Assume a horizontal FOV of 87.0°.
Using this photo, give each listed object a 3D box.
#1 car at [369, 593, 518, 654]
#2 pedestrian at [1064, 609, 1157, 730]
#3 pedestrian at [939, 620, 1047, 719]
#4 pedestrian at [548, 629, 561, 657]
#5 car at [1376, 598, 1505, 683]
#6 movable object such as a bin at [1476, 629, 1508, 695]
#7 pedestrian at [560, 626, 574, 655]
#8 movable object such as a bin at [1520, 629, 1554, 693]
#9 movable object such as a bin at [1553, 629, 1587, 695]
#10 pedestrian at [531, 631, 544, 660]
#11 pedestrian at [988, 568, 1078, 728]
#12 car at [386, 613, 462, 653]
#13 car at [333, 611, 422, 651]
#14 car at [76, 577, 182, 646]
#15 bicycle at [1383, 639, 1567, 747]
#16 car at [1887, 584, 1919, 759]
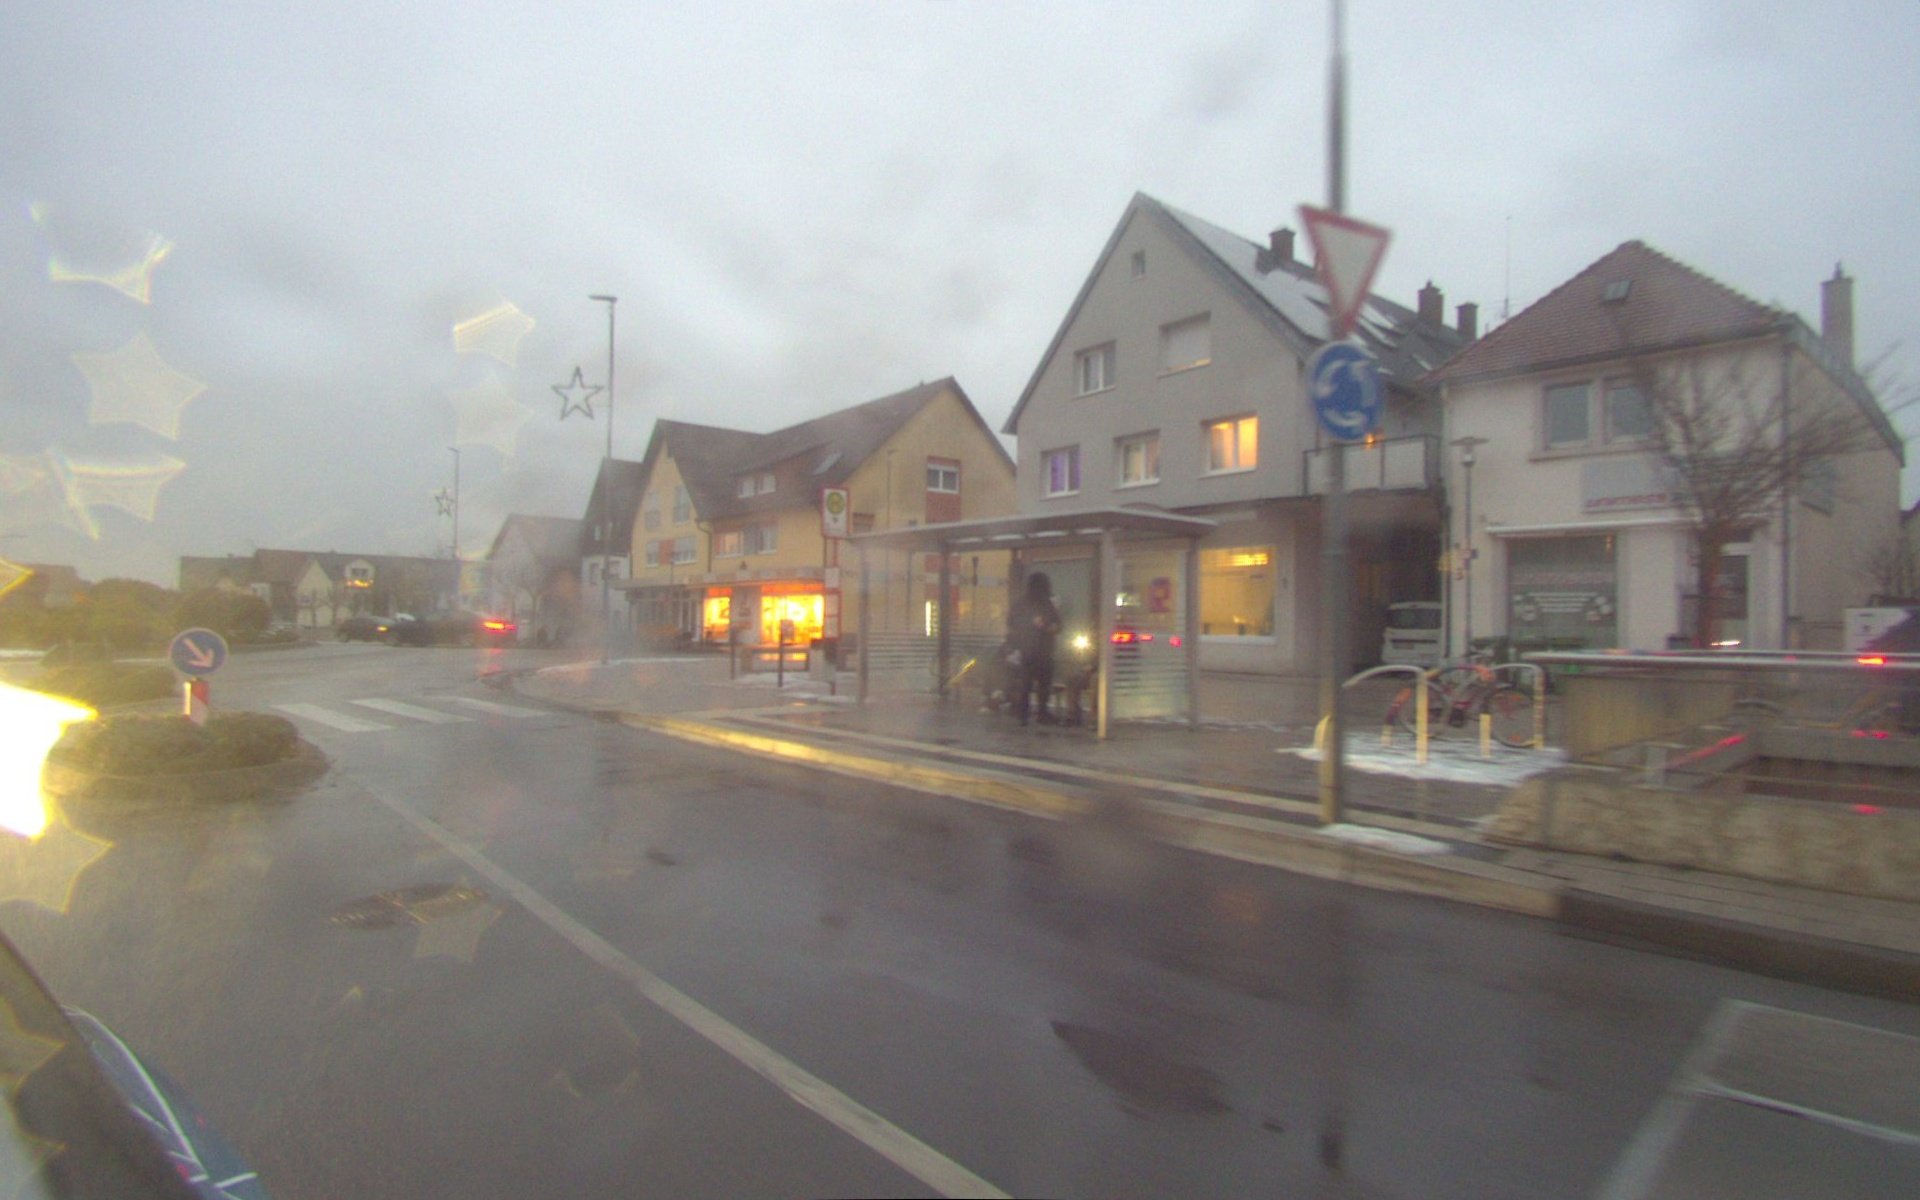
[{"bbox_3d":[-18.639,0.823,36.635,4.407,2.029,1.997,1,1,5],"label":"car"},{"bbox_3d":[1.681,0.756,11.338,0.677,1.281,0.751,0,-1,-45],"label":"pedestrian"},{"bbox_3d":[0.415,0.860,12.767,0.976,1.167,0.903,0,-3,-40],"label":"pedestrian"},{"bbox_3d":[-24.207,2.571,60.428,0.574,1.623,0.500,0,1,-45],"label":"pedestrian"},{"bbox_3d":[11.404,0.917,23.943,3.373,1.867,1.515,1,-1,-41],"label":"car"},{"bbox_3d":[10.098,1.168,19.215,0.284,1.219,0.454,0,1,-44],"label":"movable object such as a bin"},{"bbox_3d":[-22.732,2.320,58.539,0.574,1.623,0.500,0,1,-45],"label":"pedestrian"},{"bbox_3d":[10.624,1.110,18.635,0.284,1.129,0.454,0,1,-44],"label":"movable object such as a bin"},{"bbox_3d":[10.990,1.105,18.239,0.284,1.151,0.454,0,1,-44],"label":"movable object such as a bin"},{"bbox_3d":[-24.716,2.657,59.242,0.574,1.623,0.500,0,1,-45],"label":"pedestrian"},{"bbox_3d":[0.838,0.535,11.609,0.687,1.755,0.740,-2,-1,41],"label":"pedestrian"},{"bbox_3d":[-30.140,1.830,56.912,3.953,2.029,1.908,1,1,28],"label":"car"},{"bbox_3d":[-31.368,1.638,54.562,3.962,2.010,1.963,1,1,15],"label":"car"},{"bbox_3d":[-26.316,0.306,32.214,2.024,2.001,4.551,0,1,-32],"label":"car"},{"bbox_3d":[5.402,0.939,10.724,0.463,1.017,1.744,1,-2,-32],"label":"bicycle"},{"bbox_3d":[11.450,0.692,9.010,1.734,1.714,4.569,4,-4,-43],"label":"car"}]
